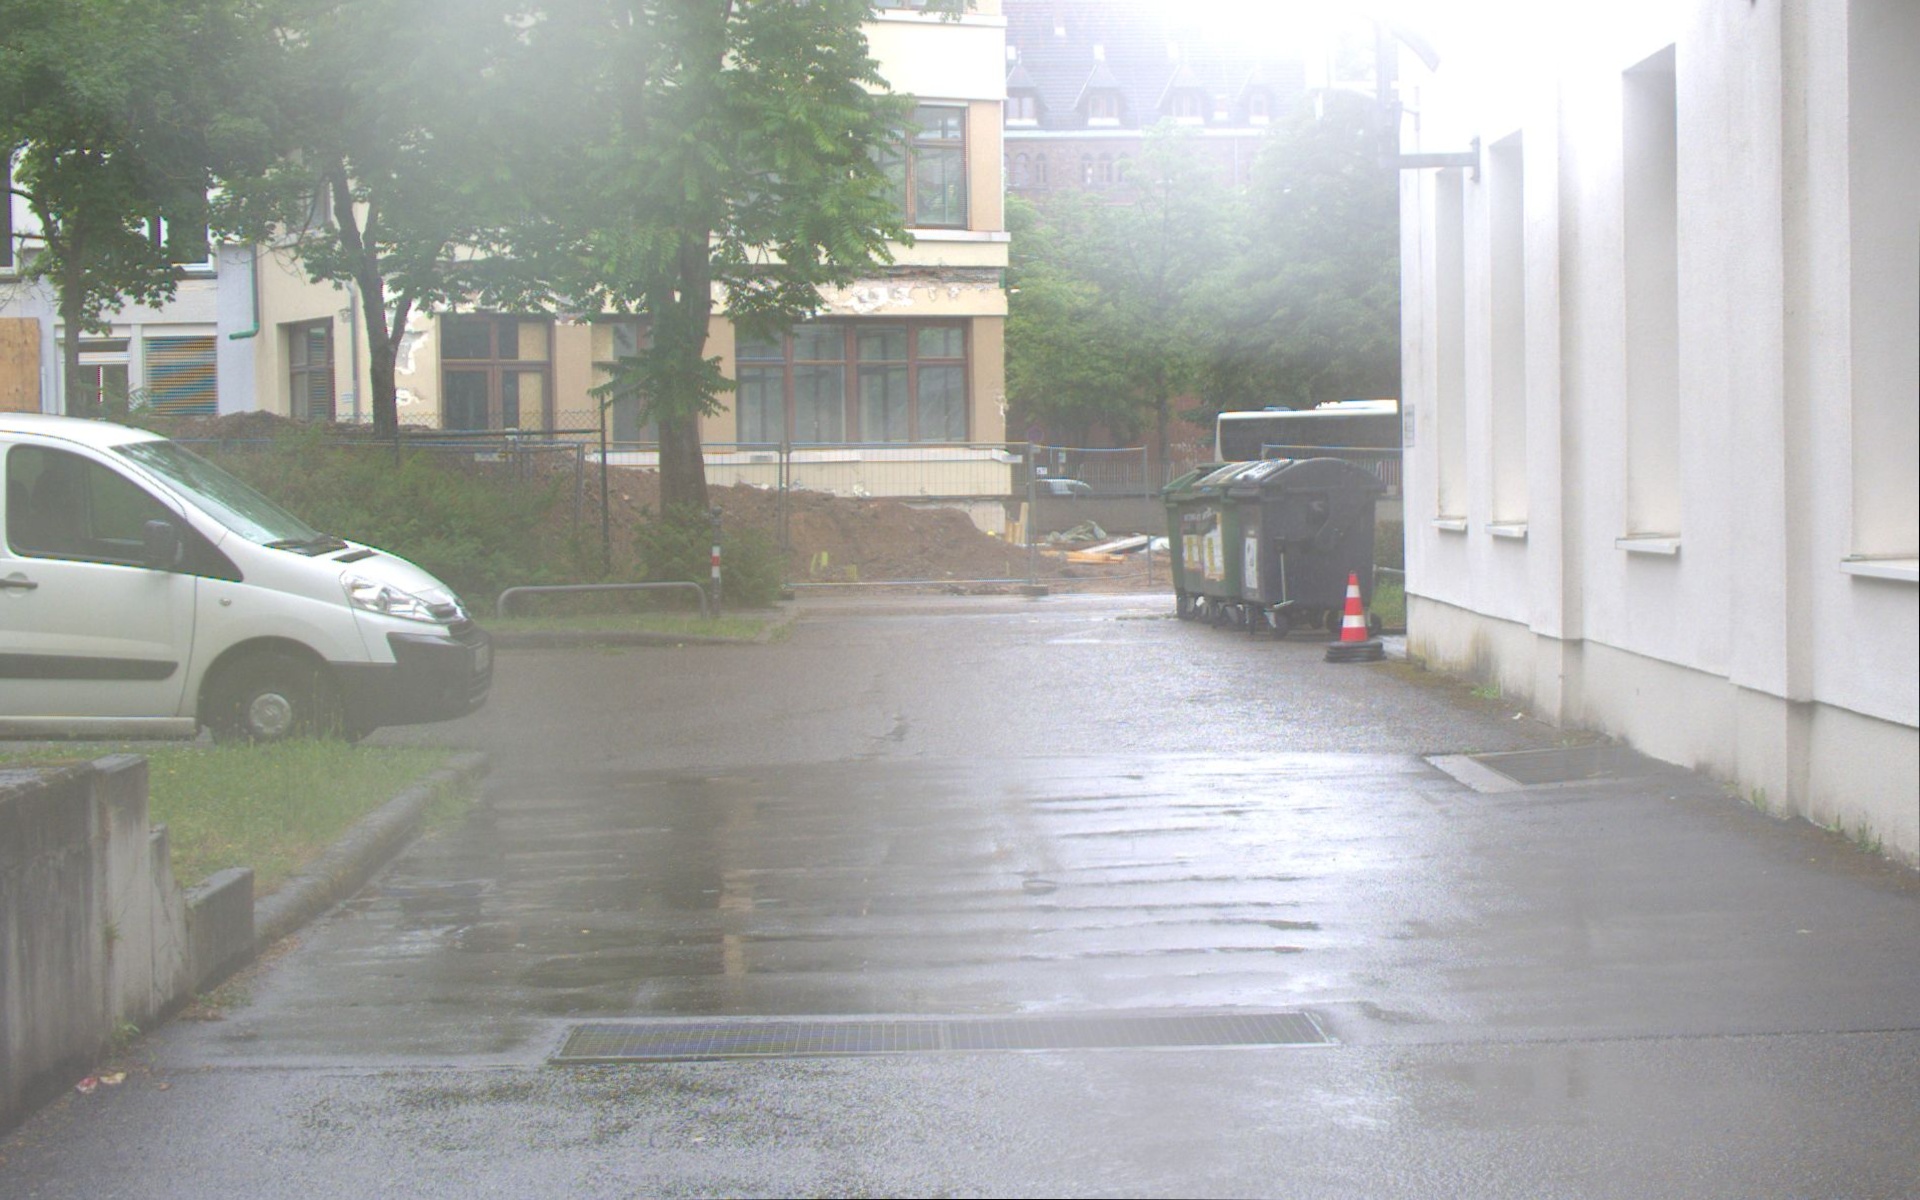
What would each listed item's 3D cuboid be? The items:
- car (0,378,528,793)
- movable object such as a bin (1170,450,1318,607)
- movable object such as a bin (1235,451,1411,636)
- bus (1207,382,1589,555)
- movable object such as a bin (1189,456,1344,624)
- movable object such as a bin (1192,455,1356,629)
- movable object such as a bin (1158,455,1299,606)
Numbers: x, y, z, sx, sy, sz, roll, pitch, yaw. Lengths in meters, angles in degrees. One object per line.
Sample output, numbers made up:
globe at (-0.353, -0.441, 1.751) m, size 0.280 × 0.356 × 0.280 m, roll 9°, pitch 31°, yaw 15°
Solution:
car at (-4.873, -0.075, 18.365) m, size 4.780 × 2.006 × 2.000 m, roll -2°, pitch 3°, yaw 1°
movable object such as a bin at (2.669, -0.665, 32.437) m, size 1.214 × 1.432 × 1.259 m, roll -1°, pitch 0°, yaw -2°
movable object such as a bin at (2.916, -0.448, 27.738) m, size 1.214 × 1.432 × 1.236 m, roll -1°, pitch 0°, yaw -2°
bus at (10.850, -3.196, 87.080) m, size 2.807 × 3.860 × 12.057 m, roll -1°, pitch 0°, yaw -30°
movable object such as a bin at (2.752, -0.537, 31.061) m, size 1.214 × 1.463 × 1.236 m, roll -1°, pitch 0°, yaw -2°
movable object such as a bin at (2.673, -0.489, 29.427) m, size 1.214 × 1.432 × 1.294 m, roll -1°, pitch 0°, yaw -2°
movable object such as a bin at (2.628, -0.669, 33.816) m, size 1.214 × 1.432 × 1.259 m, roll -1°, pitch 0°, yaw -2°
